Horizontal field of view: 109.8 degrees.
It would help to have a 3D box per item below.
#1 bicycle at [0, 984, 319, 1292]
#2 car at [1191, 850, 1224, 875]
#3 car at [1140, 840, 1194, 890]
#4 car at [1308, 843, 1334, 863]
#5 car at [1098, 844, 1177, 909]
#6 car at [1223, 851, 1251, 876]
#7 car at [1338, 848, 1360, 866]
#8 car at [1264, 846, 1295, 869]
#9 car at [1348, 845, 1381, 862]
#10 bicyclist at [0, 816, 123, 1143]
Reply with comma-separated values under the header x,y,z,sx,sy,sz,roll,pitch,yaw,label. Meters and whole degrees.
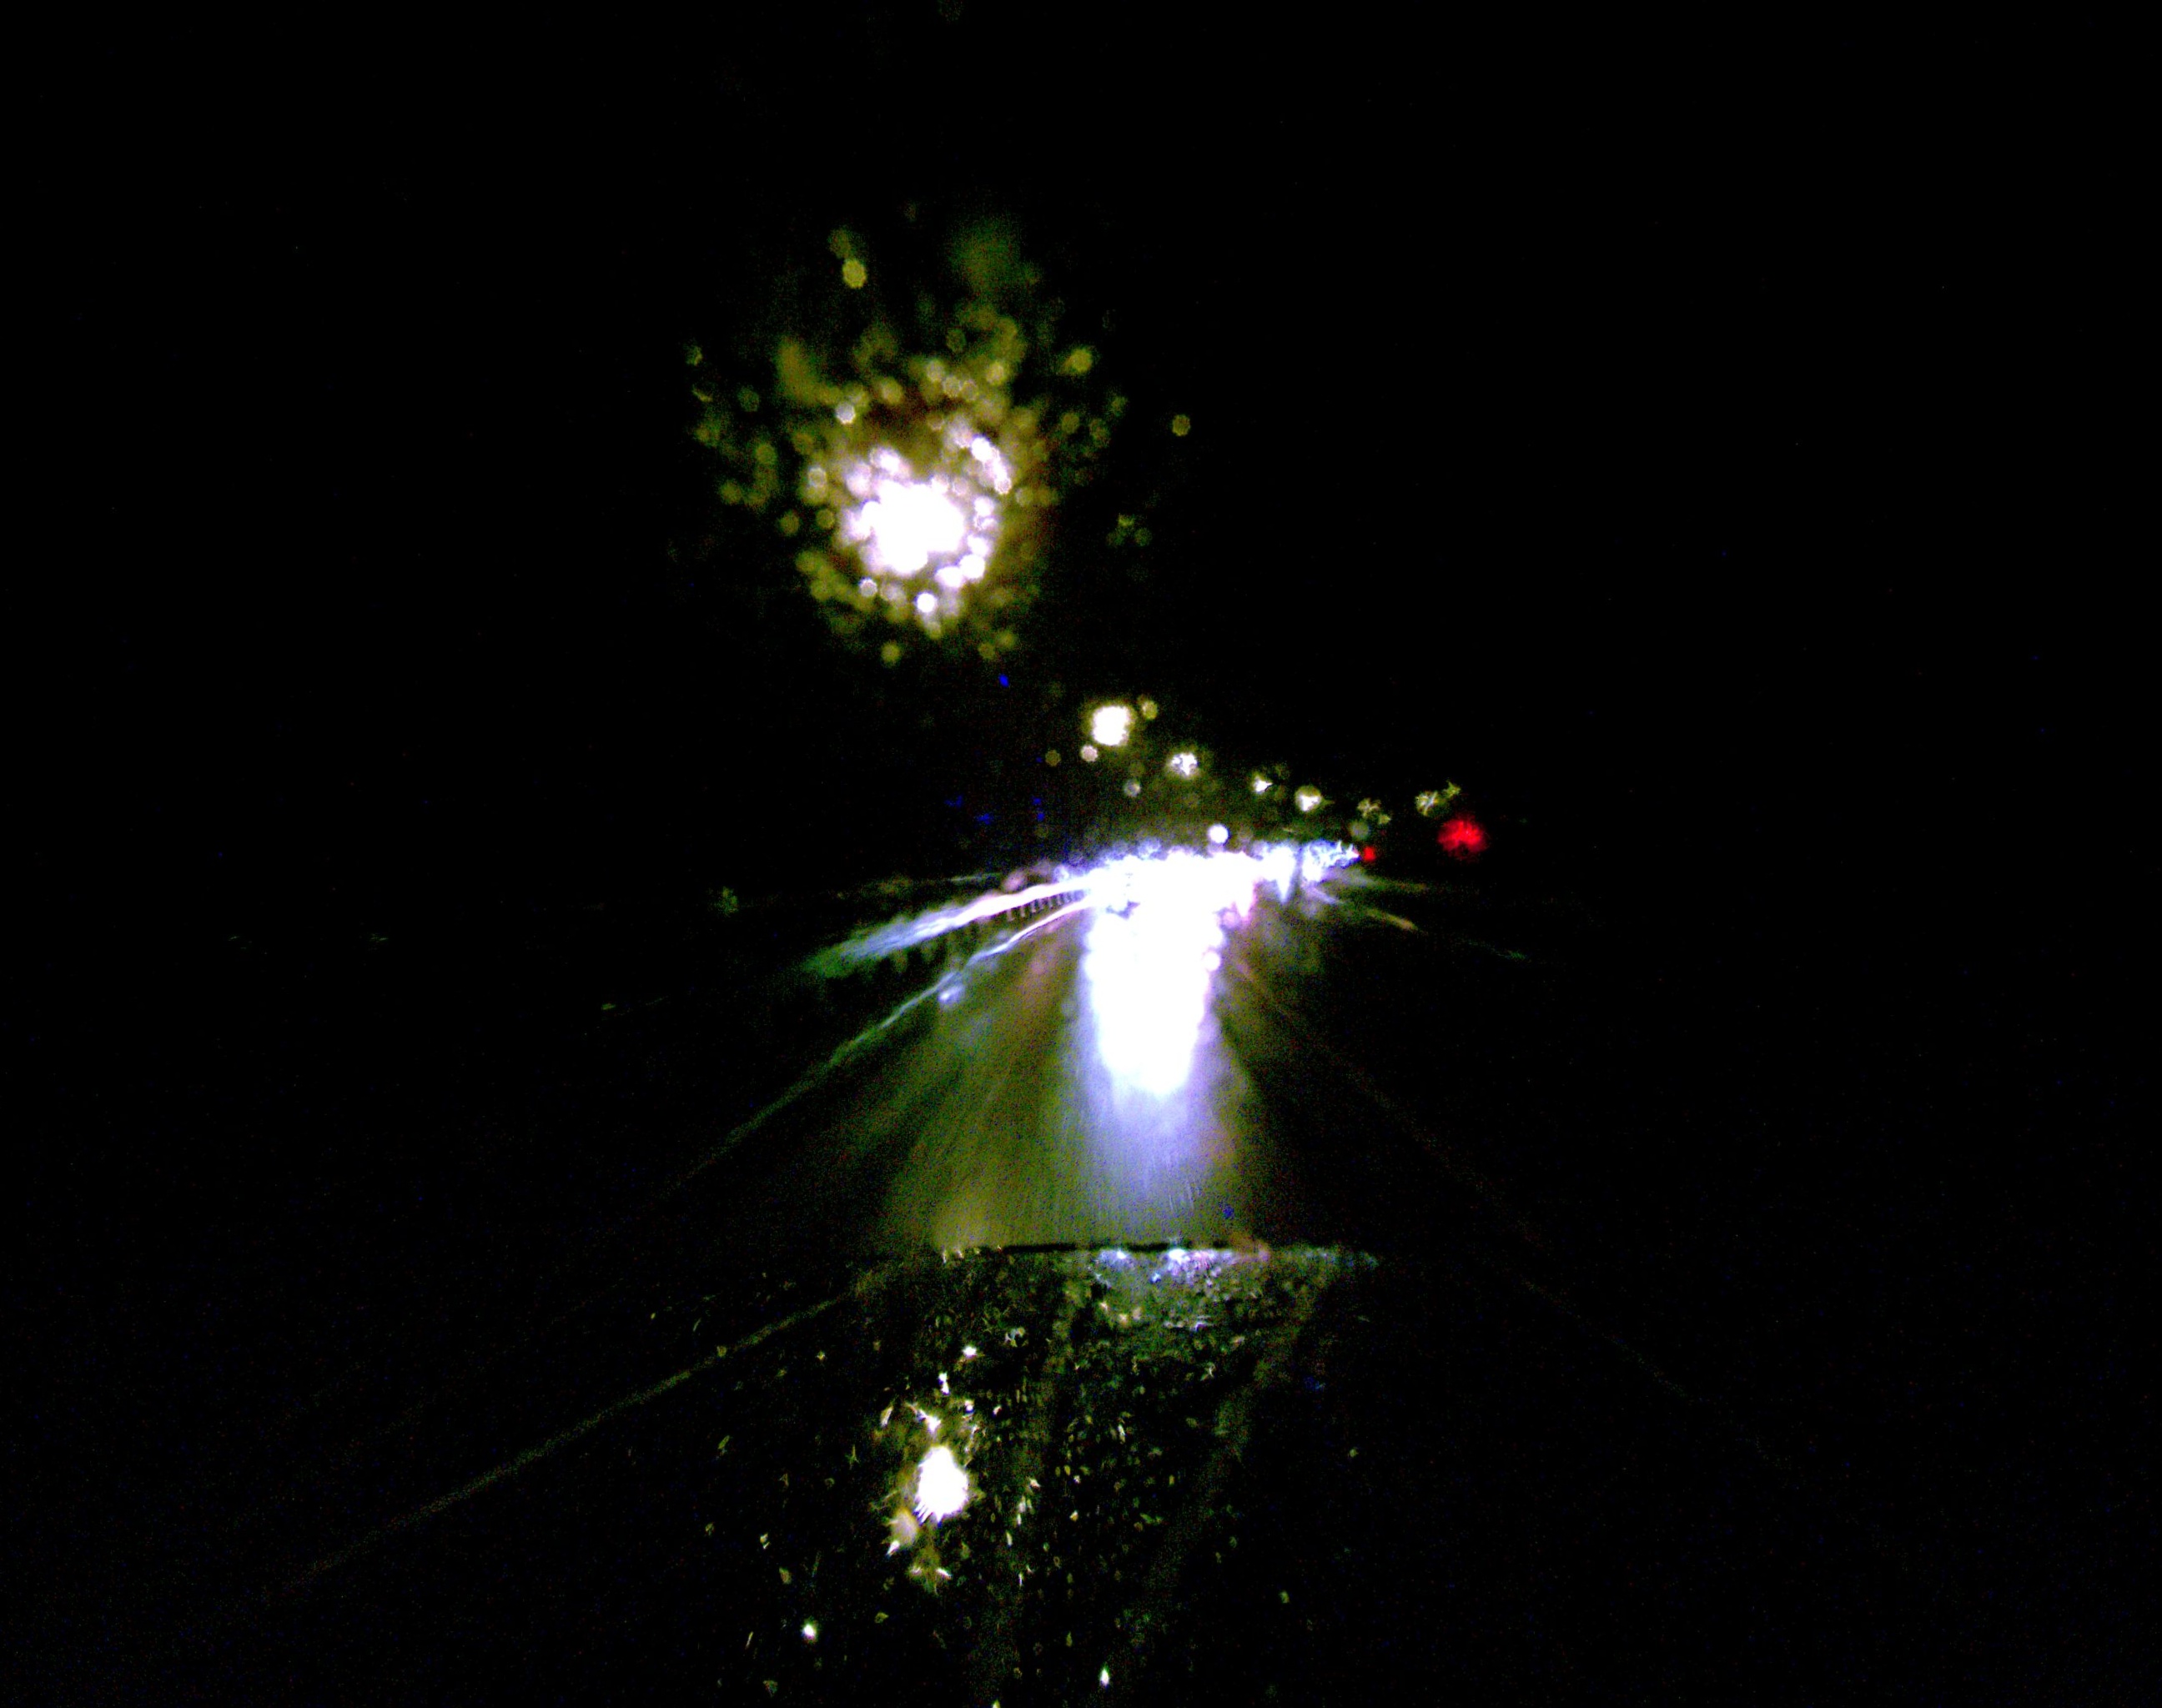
x,y,z,sx,sy,sz,roll,pitch,yaw,label
-4.645,1.271,3.237,0.485,1.028,2.172,-2,1,3,bicycle
8.056,0.532,48.113,1.520,1.516,3.111,-1,0,19,car
3.893,0.430,33.756,1.997,2.002,4.002,-1,2,11,car
27.360,-0.051,86.534,1.653,2.000,4.008,-10,-6,32,car
1.748,0.636,22.166,1.926,1.704,4.243,1,-1,9,car
12.111,0.700,58.842,1.303,1.520,3.049,-8,0,24,car
34.674,0.409,98.280,1.653,2.000,4.008,-10,-6,31,car
19.269,0.346,73.618,1.653,2.000,4.008,-10,-6,29,car
30.161,-0.050,80.651,2.023,1.709,4.991,-1,1,35,car
-4.677,0.524,3.112,0.453,1.341,0.764,-3,0,3,bicyclist
